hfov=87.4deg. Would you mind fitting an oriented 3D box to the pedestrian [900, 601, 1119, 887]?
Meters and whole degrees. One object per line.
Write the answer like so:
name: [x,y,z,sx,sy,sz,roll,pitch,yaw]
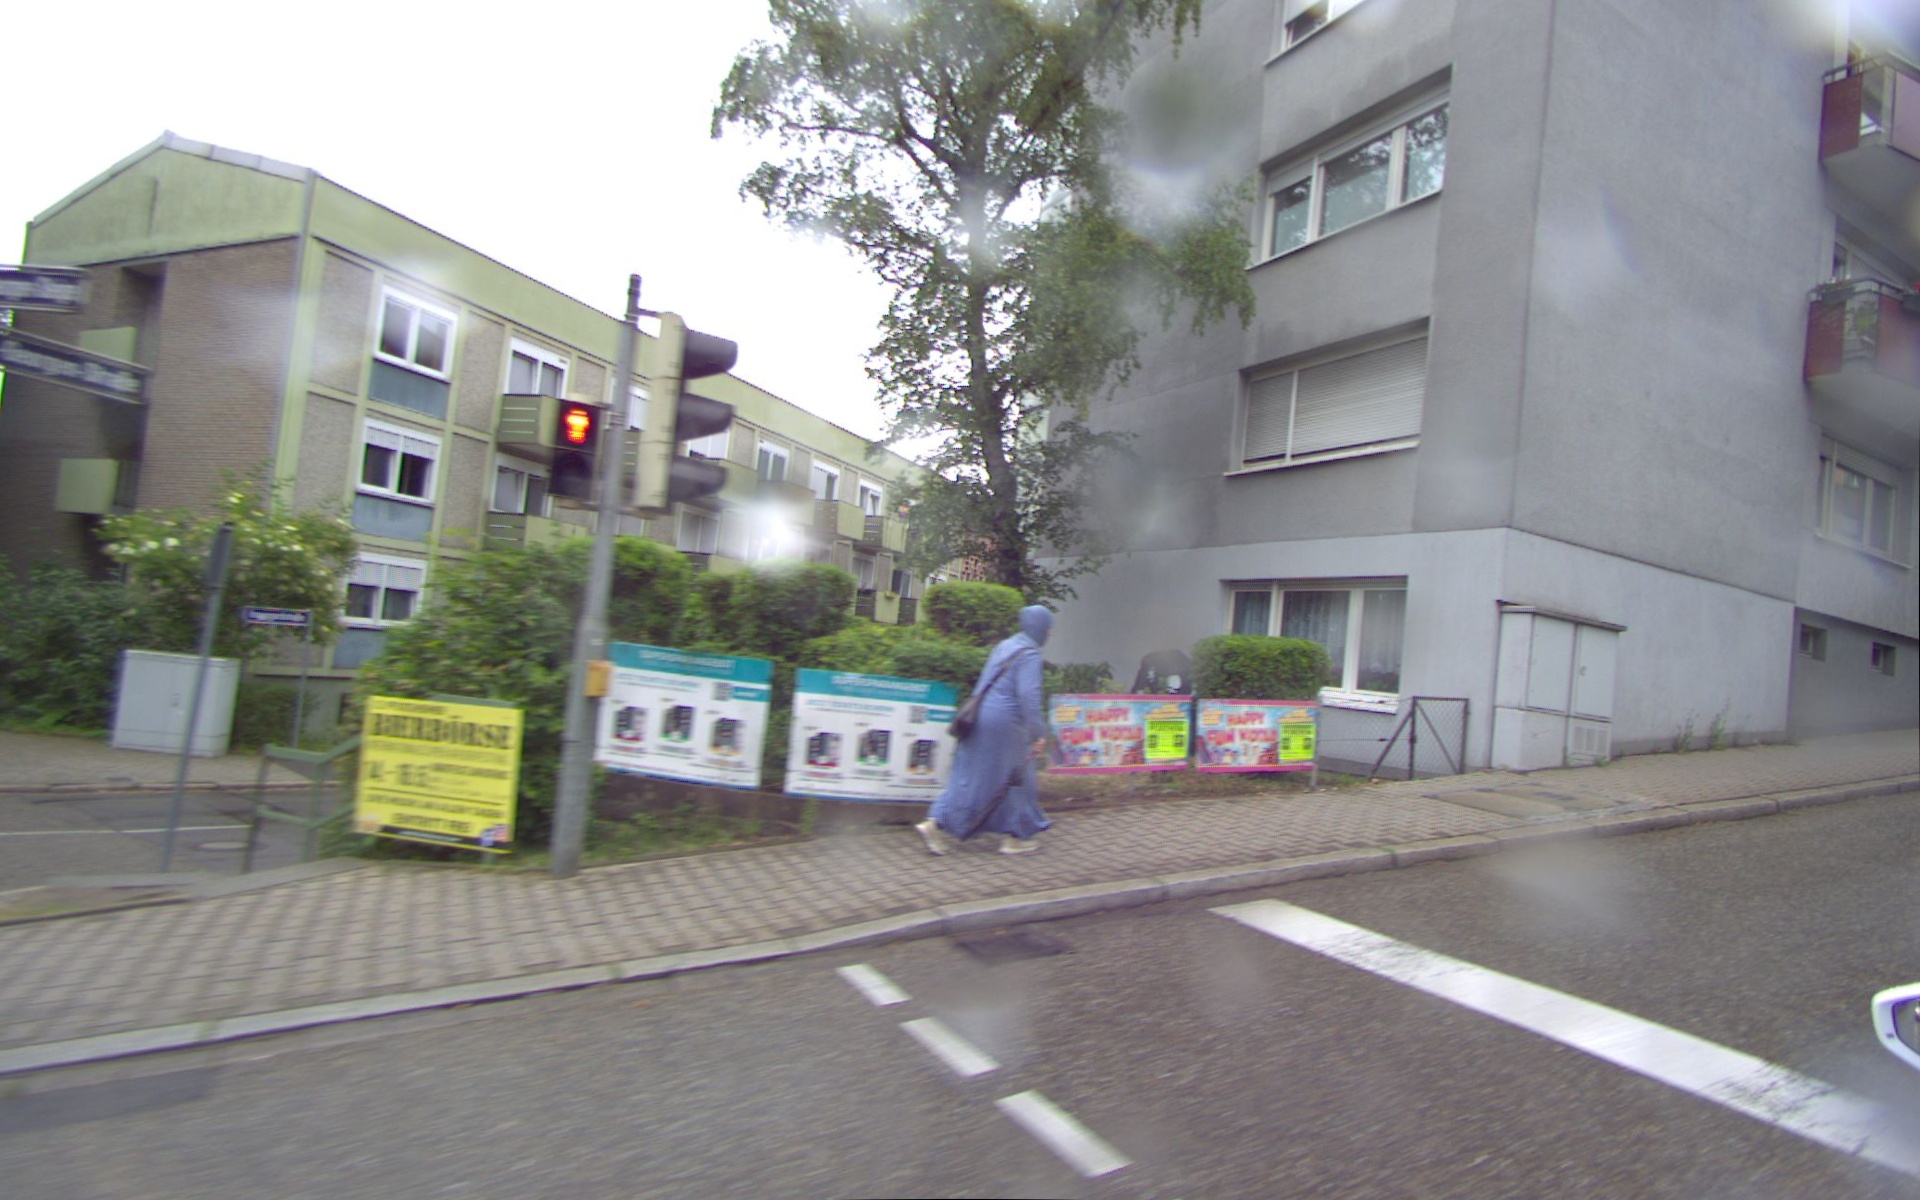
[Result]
pedestrian: [0.306,0.823,6.346,1.075,1.562,0.864,-3,3,-31]
